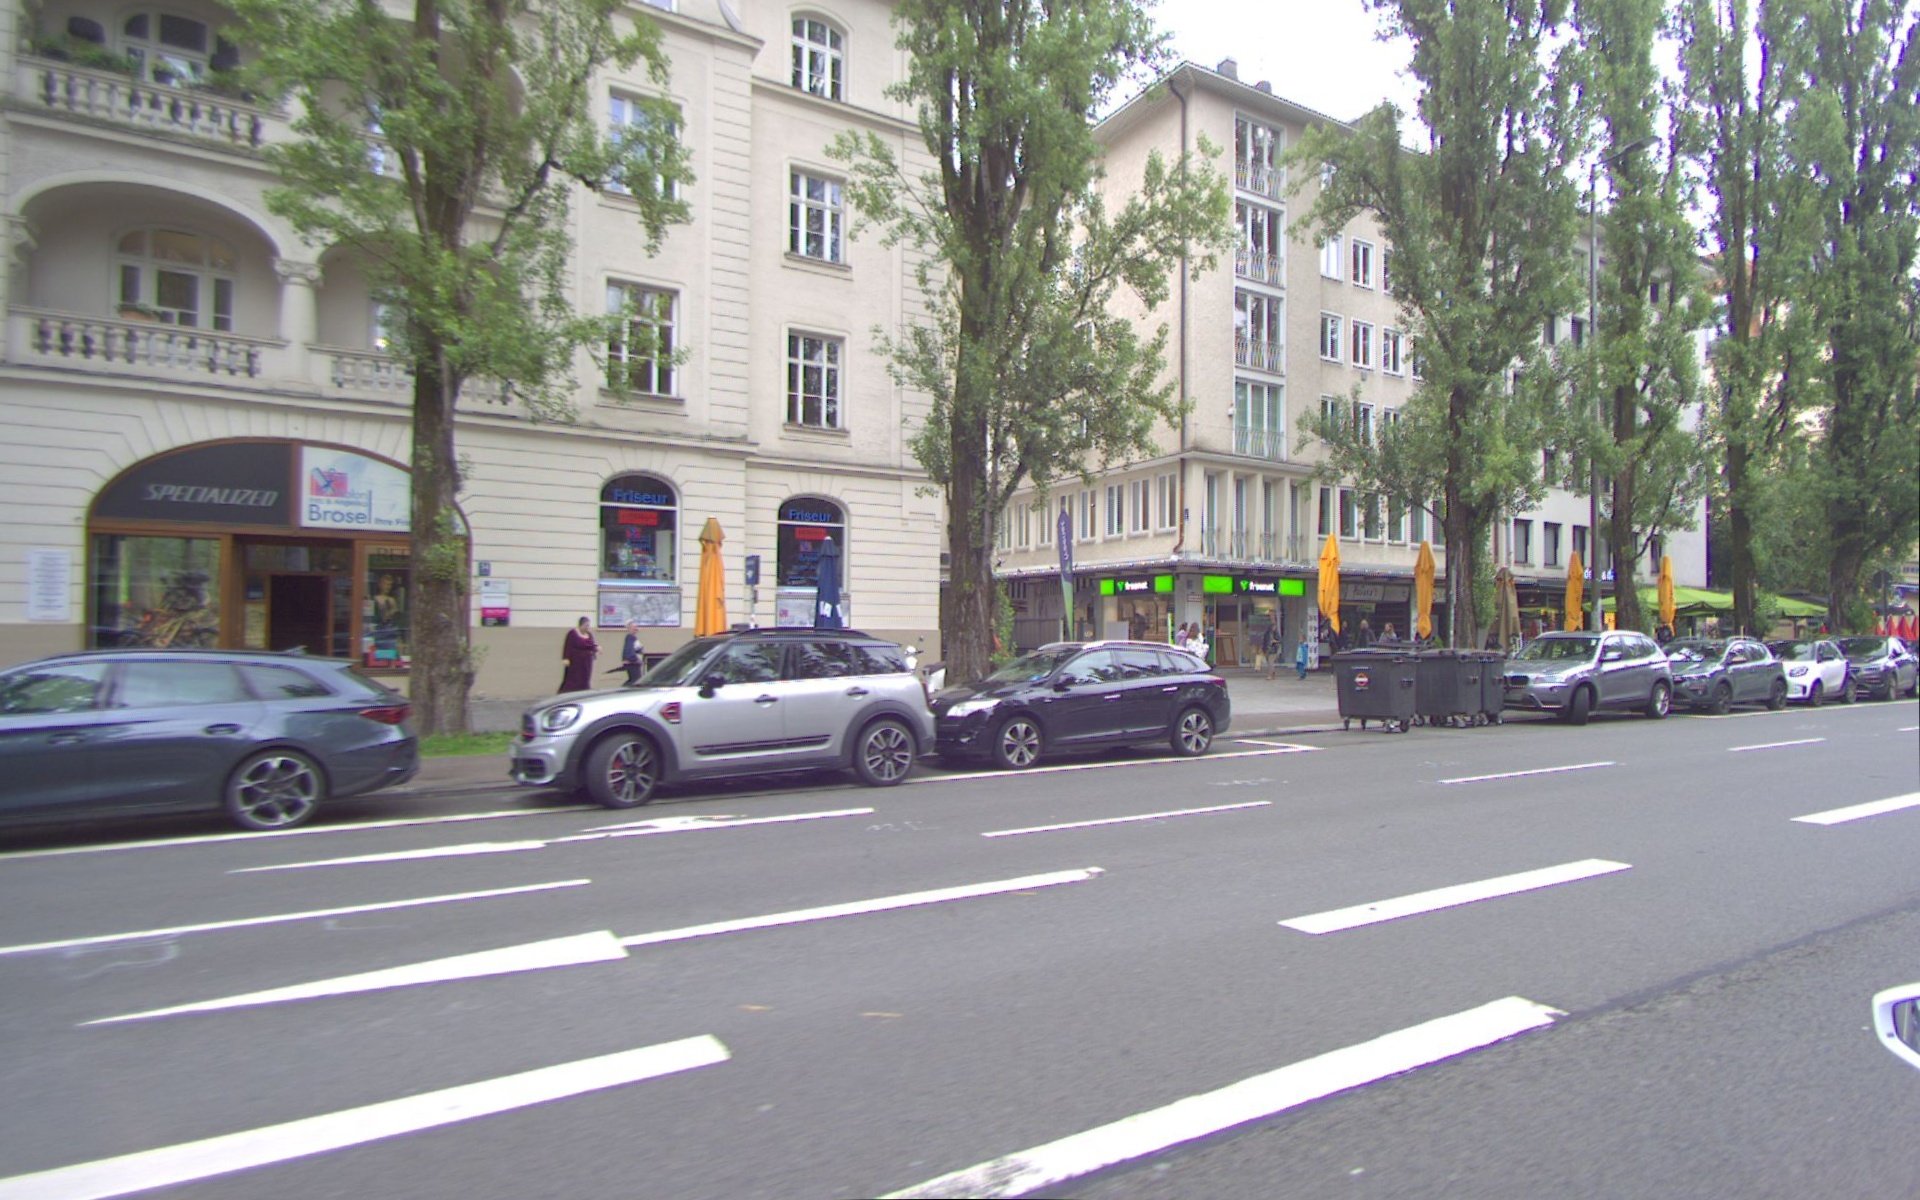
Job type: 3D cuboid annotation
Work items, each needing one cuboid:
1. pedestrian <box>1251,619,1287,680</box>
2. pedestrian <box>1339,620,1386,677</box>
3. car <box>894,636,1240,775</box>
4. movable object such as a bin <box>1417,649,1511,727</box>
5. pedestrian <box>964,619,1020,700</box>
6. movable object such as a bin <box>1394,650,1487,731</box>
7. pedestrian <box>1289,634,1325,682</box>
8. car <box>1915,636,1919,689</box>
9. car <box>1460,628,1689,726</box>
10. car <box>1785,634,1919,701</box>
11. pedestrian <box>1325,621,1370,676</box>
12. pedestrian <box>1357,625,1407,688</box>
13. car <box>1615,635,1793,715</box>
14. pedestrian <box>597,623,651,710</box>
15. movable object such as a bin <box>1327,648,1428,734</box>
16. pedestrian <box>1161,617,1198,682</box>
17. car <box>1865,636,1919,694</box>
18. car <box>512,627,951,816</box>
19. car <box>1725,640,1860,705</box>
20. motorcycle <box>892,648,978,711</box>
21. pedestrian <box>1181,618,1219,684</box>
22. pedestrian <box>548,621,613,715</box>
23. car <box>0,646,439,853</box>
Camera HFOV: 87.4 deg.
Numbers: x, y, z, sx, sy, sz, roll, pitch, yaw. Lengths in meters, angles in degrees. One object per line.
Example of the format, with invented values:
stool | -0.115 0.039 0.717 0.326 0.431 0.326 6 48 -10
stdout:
pedestrian | 8.954 1.431 29.135 0.817 1.744 0.622 1 -2 -31
pedestrian | 12.681 1.512 31.646 1.134 1.767 0.848 1 -1 -30
car | 1.419 1.254 12.899 4.261 1.524 1.657 1 -4 -29
movable object such as a bin | 9.133 1.566 18.232 0.810 1.334 1.307 1 -2 -31
pedestrian | 0.686 1.270 21.752 0.941 1.695 0.731 2 0 -30
movable object such as a bin | 8.463 1.558 17.720 0.816 1.334 1.253 1 -2 -31
pedestrian | 9.998 1.659 28.947 0.817 1.342 0.622 1 -2 -31
car | 30.405 1.867 29.996 4.042 1.567 1.825 1 -2 -32
car | 11.821 1.429 19.255 4.563 1.676 1.856 1 -4 -32
car | 23.172 1.686 25.997 4.139 1.586 1.828 2 -2 -36
pedestrian | 12.688 1.565 32.881 1.134 1.768 0.848 1 -1 -30
pedestrian | 12.199 1.611 29.044 1.134 1.767 0.848 1 -1 -30
car | 15.965 1.539 21.504 4.036 1.571 1.689 1 -2 -32
pedestrian | -6.256 1.220 18.694 0.795 1.558 0.765 2 0 -30
movable object such as a bin | 6.889 1.471 16.608 0.891 1.327 1.271 1 -2 -30
pedestrian | 6.062 1.356 27.718 0.817 1.744 0.622 1 -2 -31
car | 27.000 1.793 28.137 2.886 1.554 1.567 1 -2 -28
car | -2.295 1.112 10.358 4.084 1.596 1.774 1 -3 -31
car | 19.839 1.681 23.935 2.950 1.447 1.623 1 -2 -32
motorcycle | -0.453 1.498 19.216 1.802 1.154 0.471 2 -2 -44
pedestrian | 6.482 1.364 27.150 0.817 1.744 0.622 1 -2 -31
pedestrian | -6.503 1.145 17.240 0.674 1.558 0.786 1 0 39
car | -6.831 1.105 7.970 4.639 1.442 1.675 2 -4 -34
